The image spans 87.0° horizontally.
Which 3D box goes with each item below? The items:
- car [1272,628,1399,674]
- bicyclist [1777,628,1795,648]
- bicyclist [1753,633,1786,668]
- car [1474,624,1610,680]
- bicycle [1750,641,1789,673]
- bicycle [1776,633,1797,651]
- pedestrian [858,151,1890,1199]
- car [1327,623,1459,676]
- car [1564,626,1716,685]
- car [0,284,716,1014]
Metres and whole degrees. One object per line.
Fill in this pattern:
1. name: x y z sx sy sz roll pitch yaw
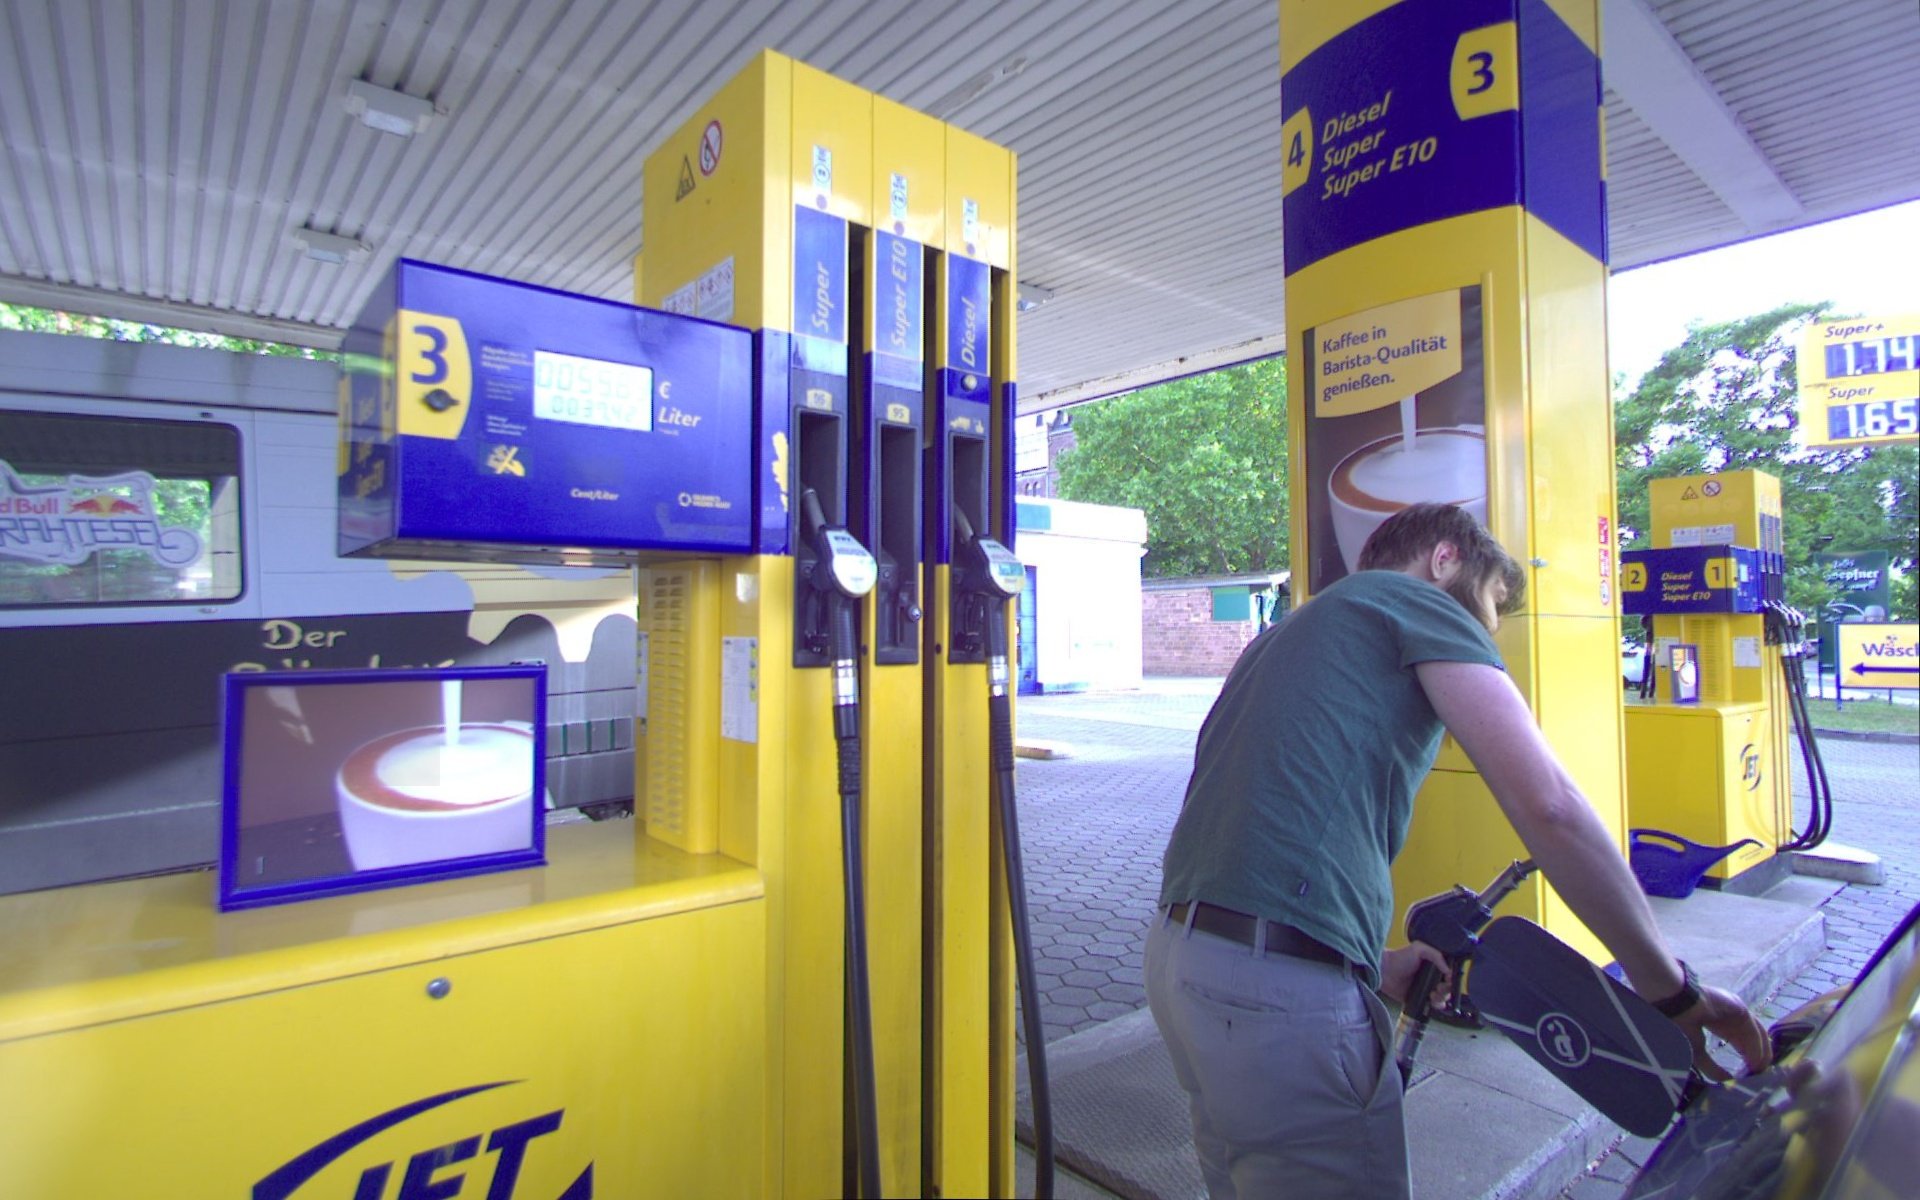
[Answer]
1. car: 12.649 1.704 34.047 4.112 1.453 1.826 2 -3 -31
2. bicyclist: 61.789 2.852 75.676 0.783 1.469 1.165 0 0 26
3. bicyclist: 34.488 2.145 43.123 0.844 1.441 1.028 -2 -1 26
4. car: 17.777 1.582 30.865 4.112 1.606 1.826 2 -3 -31
5. bicycle: 34.515 2.433 43.181 0.844 1.255 1.866 -2 -1 26
6. bicycle: 61.759 3.121 75.613 0.783 1.255 1.866 0 0 26
7. pedestrian: 0.616 0.514 1.534 1.161 1.750 0.993 -2 1 -38
8. car: 13.788 1.573 32.184 4.112 1.606 1.826 2 -3 -31
9. car: 18.260 1.491 27.149 4.112 1.478 1.826 2 -3 -31
10. car: -4.093 0.192 4.871 5.248 2.760 2.201 0 -1 -39
